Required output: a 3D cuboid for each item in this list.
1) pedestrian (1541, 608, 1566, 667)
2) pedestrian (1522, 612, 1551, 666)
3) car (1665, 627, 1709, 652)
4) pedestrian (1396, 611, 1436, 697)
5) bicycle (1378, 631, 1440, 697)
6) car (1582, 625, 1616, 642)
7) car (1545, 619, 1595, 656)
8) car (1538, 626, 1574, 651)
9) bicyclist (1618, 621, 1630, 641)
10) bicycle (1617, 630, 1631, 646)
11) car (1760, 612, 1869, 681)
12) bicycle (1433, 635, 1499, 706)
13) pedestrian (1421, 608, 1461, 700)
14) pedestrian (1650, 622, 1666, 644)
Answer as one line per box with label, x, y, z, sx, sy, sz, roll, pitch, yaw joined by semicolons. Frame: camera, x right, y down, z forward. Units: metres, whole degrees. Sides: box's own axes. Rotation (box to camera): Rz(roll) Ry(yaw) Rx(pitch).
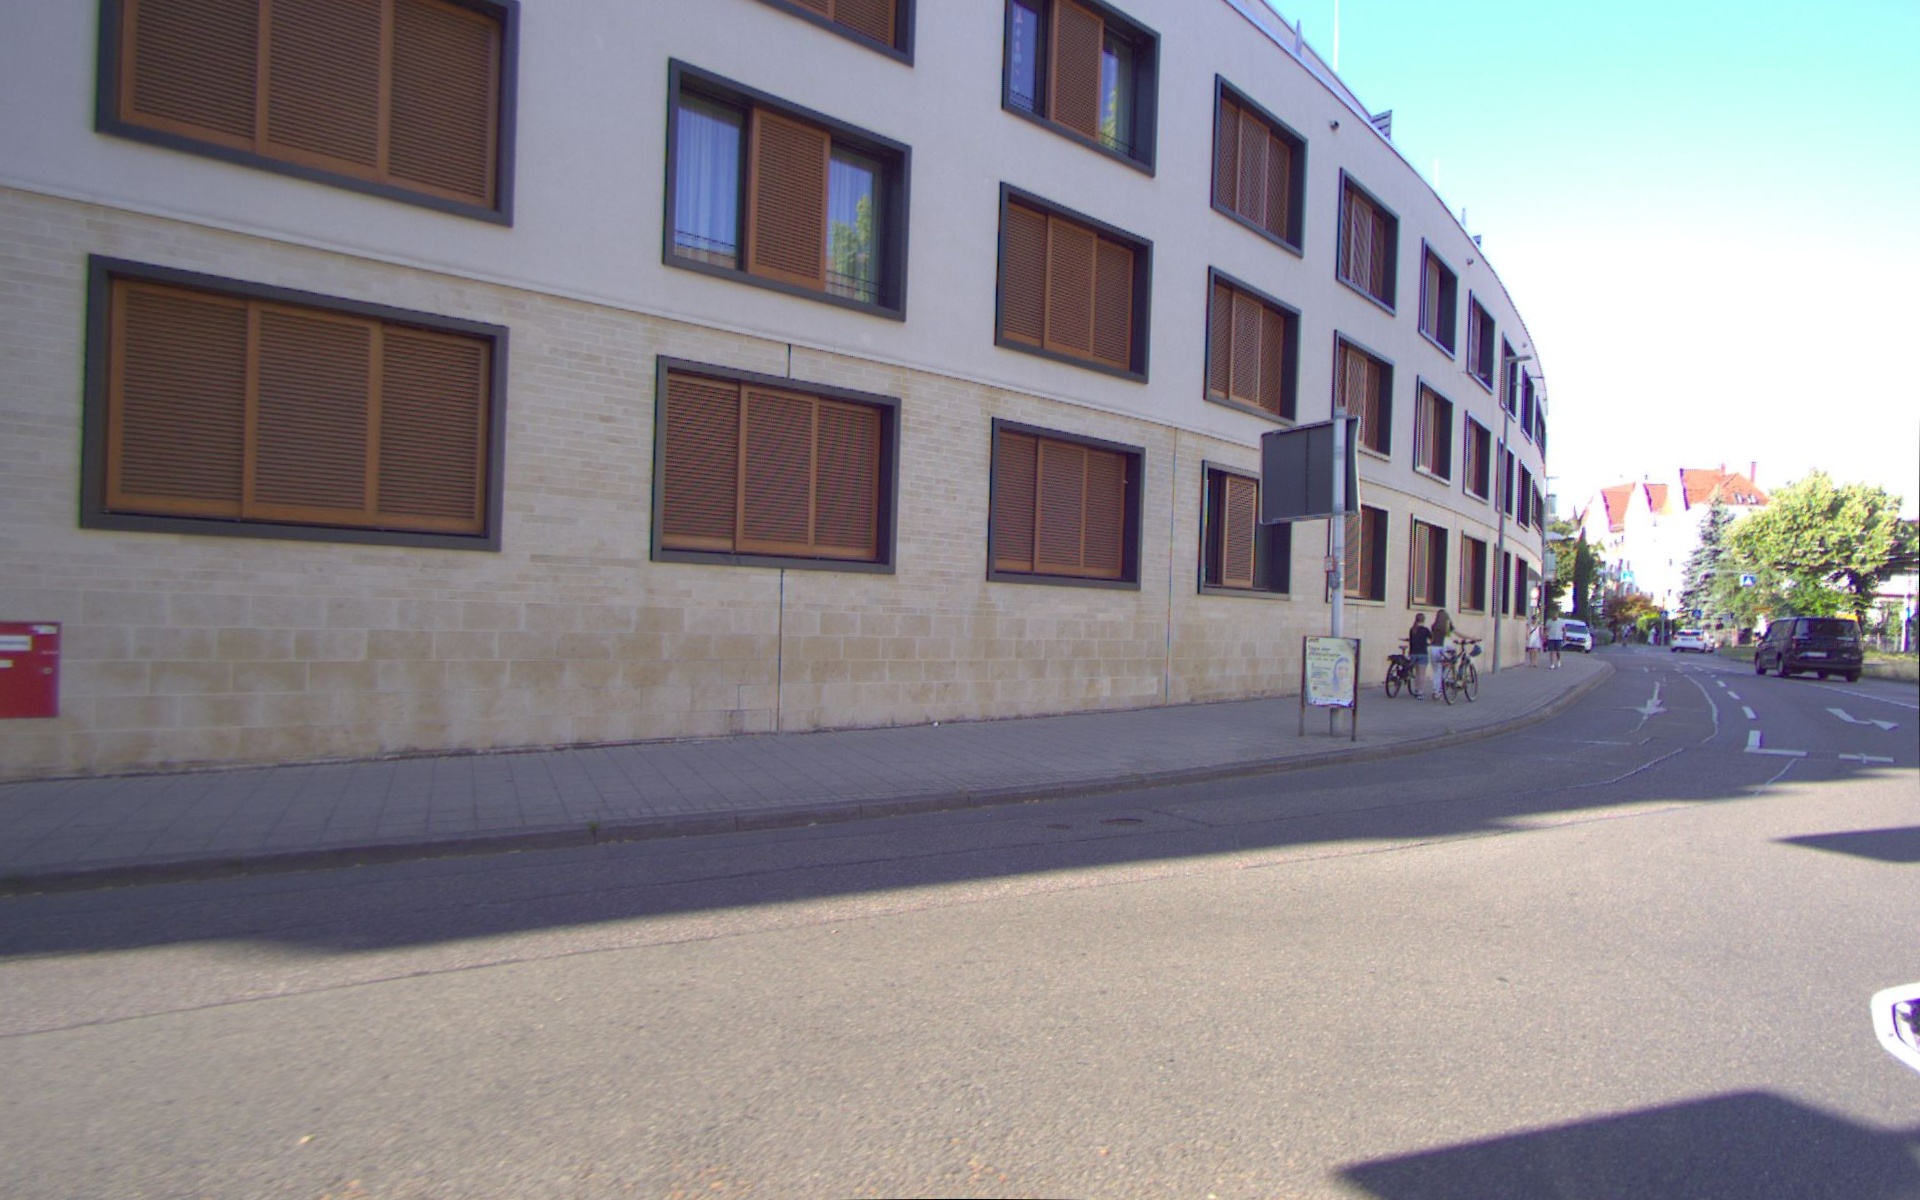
pedestrian;19.680;1.239;33.311;0.597;1.873;0.990;3;0;34
pedestrian;19.284;1.311;33.599;0.693;1.736;0.840;3;0;34
car;46.550;2.530;64.290;1.937;1.525;3.665;0;-1;42
pedestrian;8.639;1.008;19.039;0.598;1.586;0.469;2;0;-45
bicycle;8.483;1.188;18.960;1.824;1.182;0.372;2;-1;-43
car;67.180;3.506;105.600;1.960;1.617;4.001;3;0;17
car;35.064;2.124;57.825;1.782;1.894;4.330;5;0;24
car;40.113;2.548;67.564;1.686;1.486;4.578;5;2;34
bicyclist;47.506;2.224;71.848;0.613;1.398;0.800;1;-1;27
bicycle;47.490;2.711;71.835;0.613;1.096;1.781;1;-1;27
car;28.210;1.469;33.305;1.964;2.040;3.992;3;0;30
bicycle;9.185;1.246;18.192;1.954;1.194;0.436;1;1;-45
pedestrian;8.920;0.993;18.618;0.598;1.669;0.469;2;-1;-45
pedestrian;55.450;2.619;79.808;0.857;1.679;0.905;4;0;32
